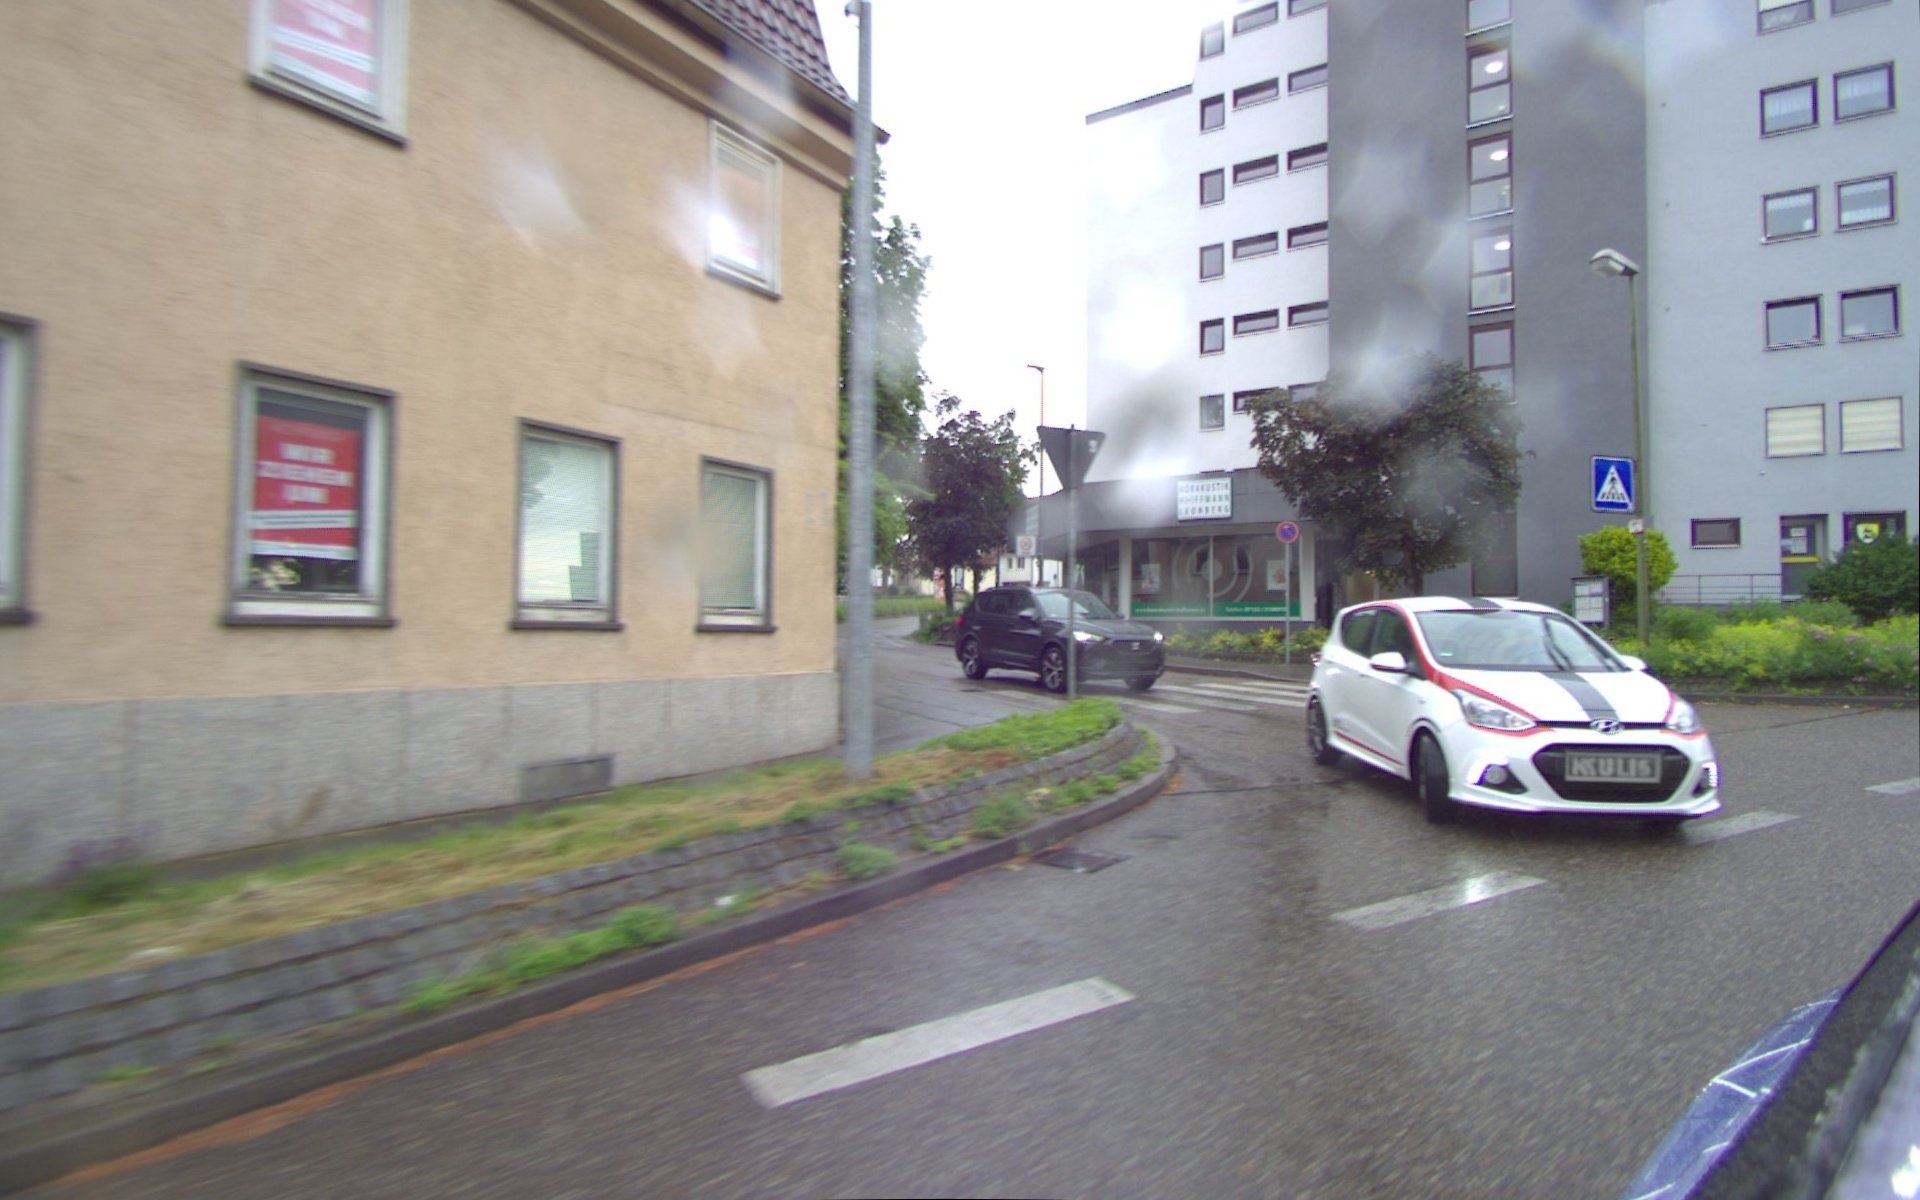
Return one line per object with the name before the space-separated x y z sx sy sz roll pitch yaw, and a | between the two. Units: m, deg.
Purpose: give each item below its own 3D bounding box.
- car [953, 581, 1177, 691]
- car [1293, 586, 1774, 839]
car | 1.583 0.536 16.987 1.683 1.593 4.426 1 -1 -26
car | 3.967 0.657 7.812 1.681 1.471 3.760 0 0 3
